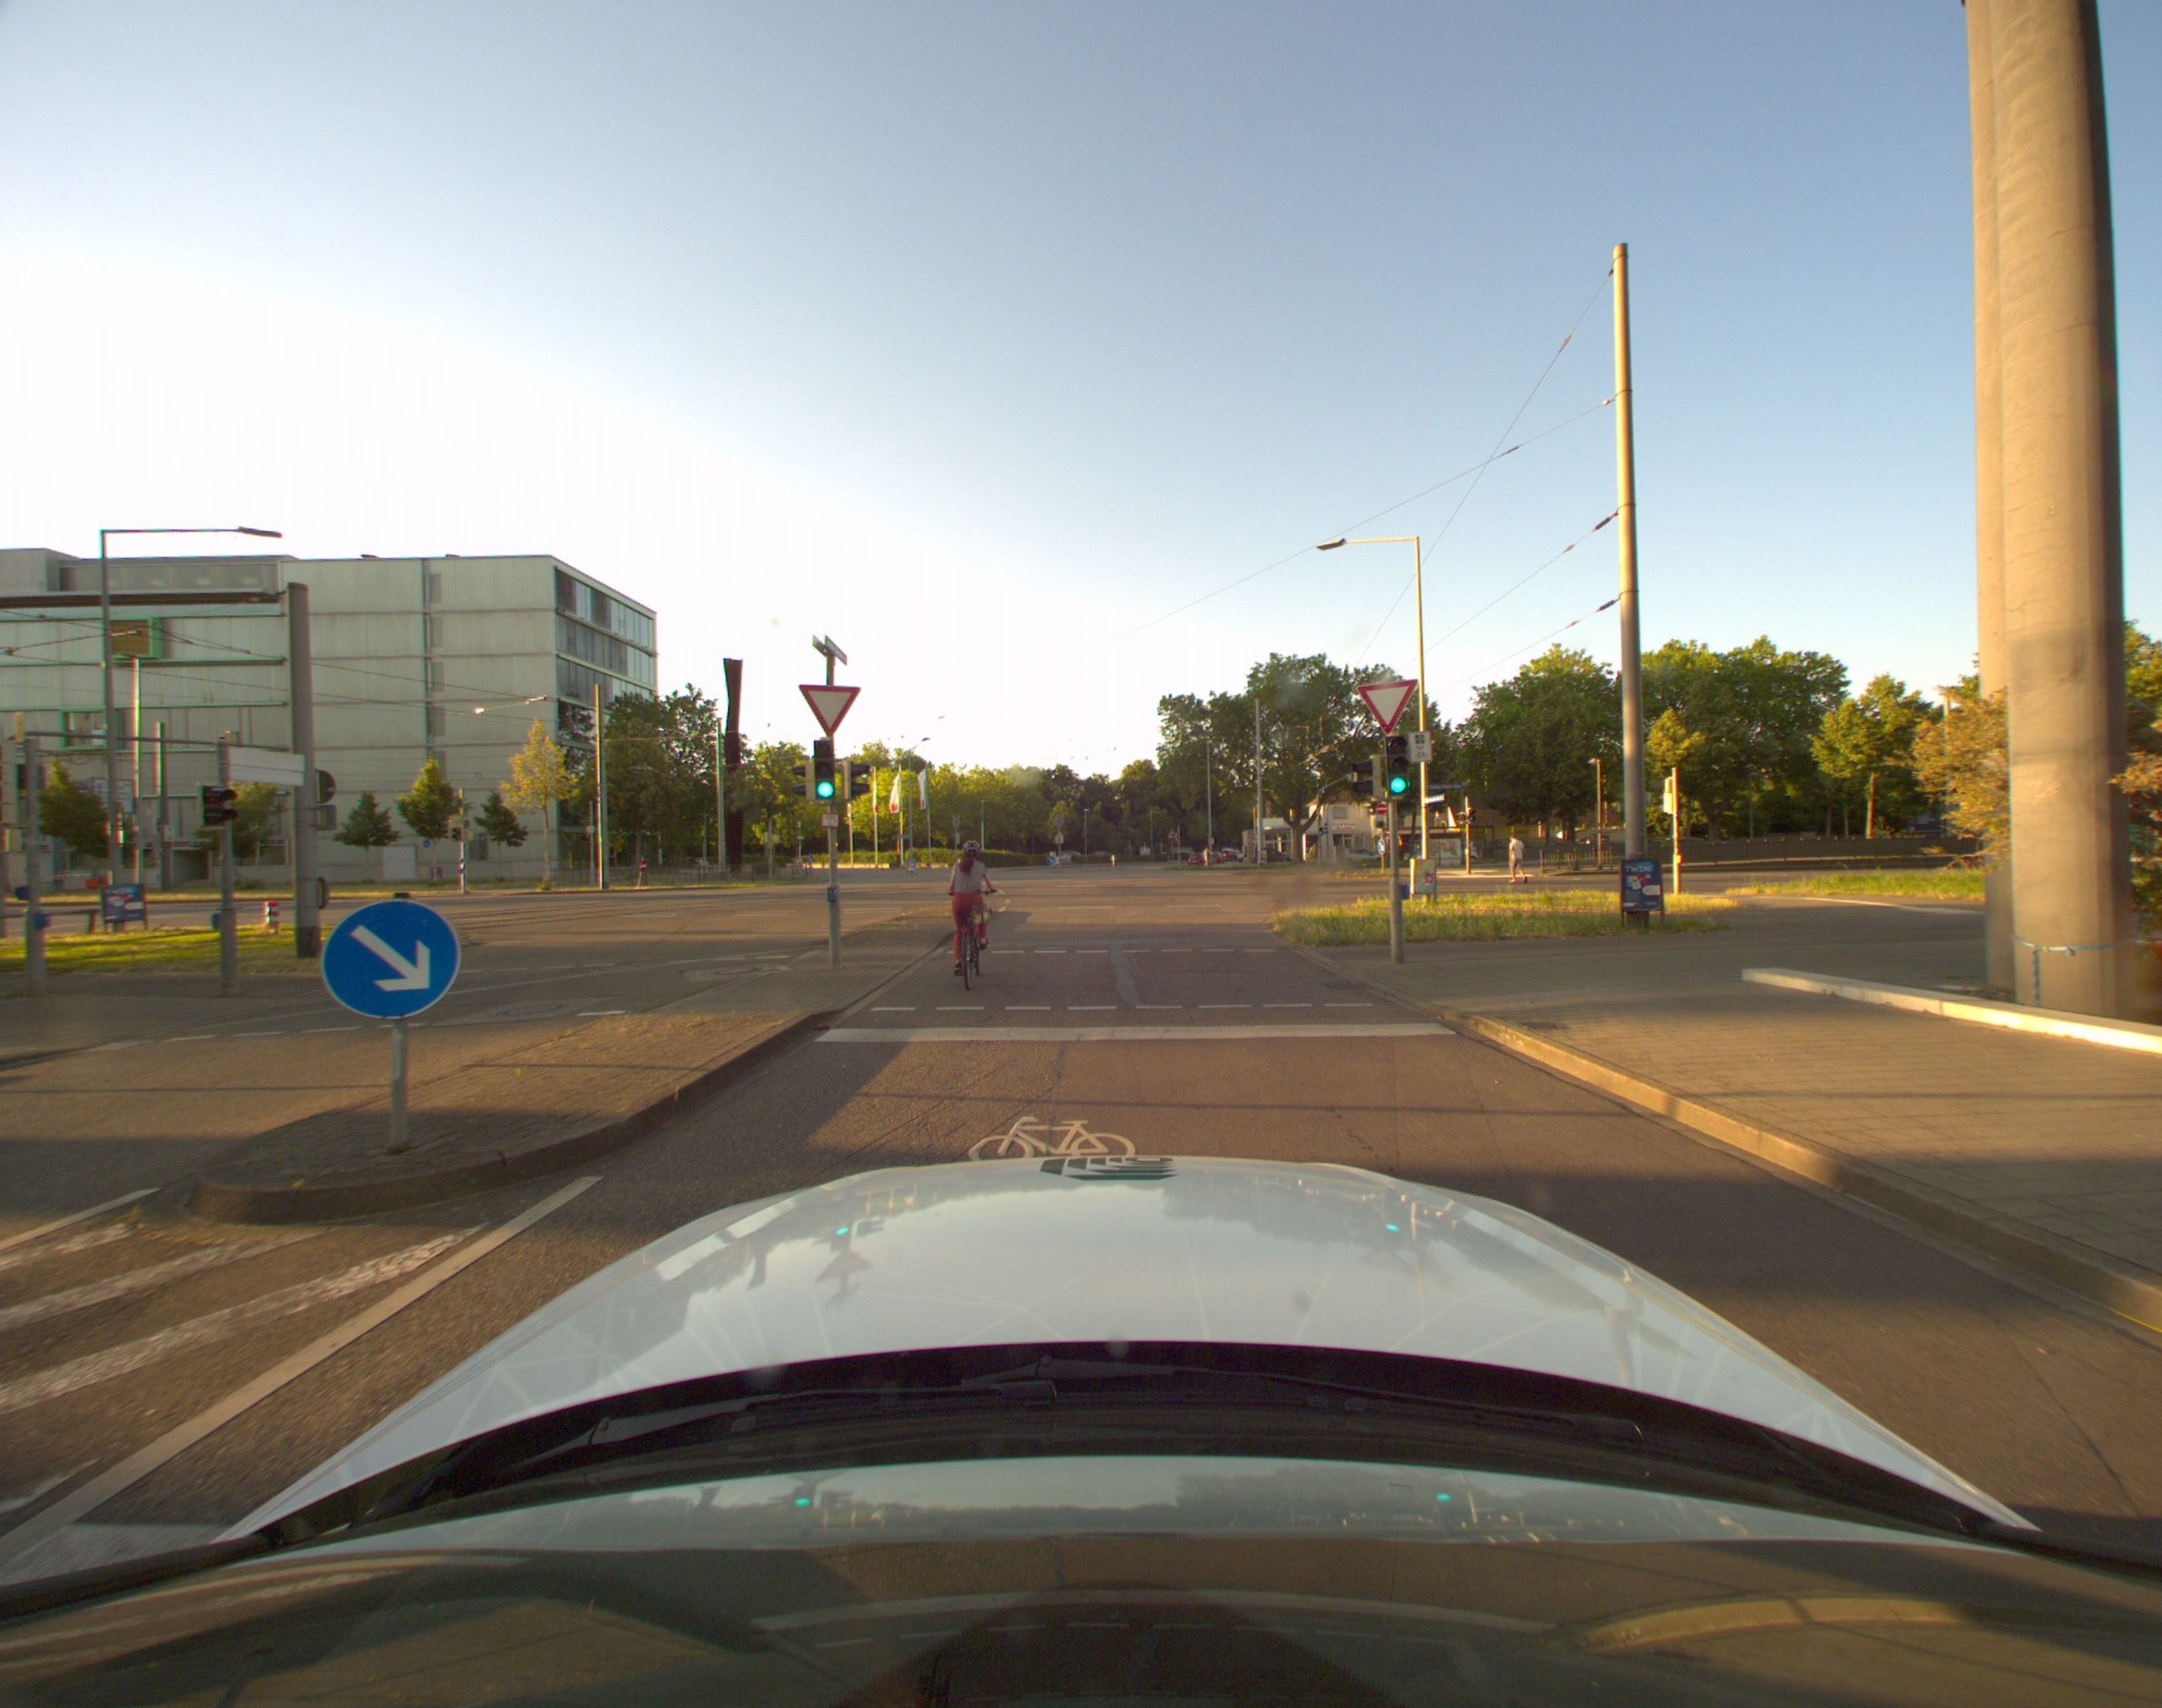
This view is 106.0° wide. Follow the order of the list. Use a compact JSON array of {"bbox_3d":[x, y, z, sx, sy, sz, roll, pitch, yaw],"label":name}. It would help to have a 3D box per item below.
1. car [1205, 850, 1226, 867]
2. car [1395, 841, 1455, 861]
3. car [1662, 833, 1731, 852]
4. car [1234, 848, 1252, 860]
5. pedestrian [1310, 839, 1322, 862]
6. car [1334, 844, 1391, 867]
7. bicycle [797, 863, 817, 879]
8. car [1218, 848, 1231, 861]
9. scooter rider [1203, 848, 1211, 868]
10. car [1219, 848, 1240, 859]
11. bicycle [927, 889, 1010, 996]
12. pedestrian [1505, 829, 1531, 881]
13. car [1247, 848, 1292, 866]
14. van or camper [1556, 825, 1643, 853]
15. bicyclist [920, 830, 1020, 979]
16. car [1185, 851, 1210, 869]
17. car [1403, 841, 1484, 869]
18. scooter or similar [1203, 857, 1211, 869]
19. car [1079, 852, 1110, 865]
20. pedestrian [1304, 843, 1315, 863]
[{"bbox_3d":[16.571,0.501,100.218,1.899,2.047,4.020,-1,0,20],"label":"car"},{"bbox_3d":[28.887,-0.229,68.424,4.210,1.577,2.003,-1,0,4],"label":"car"},{"bbox_3d":[51.244,-0.975,67.875,4.210,1.464,2.003,-1,0,4],"label":"car"},{"bbox_3d":[22.310,0.013,112.157,1.899,1.602,4.020,-1,0,20],"label":"car"},{"bbox_3d":[18.670,-0.275,64.673,0.712,1.754,0.903,-1,0,26],"label":"pedestrian"},{"bbox_3d":[23.839,0.128,69.146,4.210,1.846,2.003,-1,0,4],"label":"car"},{"bbox_3d":[-20.562,1.239,61.156,0.697,1.136,2.392,-1,0,-1],"label":"bicycle"},{"bbox_3d":[22.504,0.038,127.945,1.982,2.013,4.010,-1,0,9],"label":"car"},{"bbox_3d":[11.650,0.354,75.305,0.699,1.855,0.669,-1,-1,2],"label":"scooter rider"},{"bbox_3d":[21.482,-0.052,117.946,1.739,1.541,4.426,-2,-1,27],"label":"car"},{"bbox_3d":[-1.327,1.017,9.985,0.632,1.068,2.123,-1,0,2],"label":"bicycle"},{"bbox_3d":[15.479,0.038,28.832,0.754,1.791,0.807,-1,0,32],"label":"pedestrian"},{"bbox_3d":[19.838,0.304,85.763,4.354,1.835,1.953,-1,0,7],"label":"car"},{"bbox_3d":[48.152,-1.371,75.755,6.530,2.410,2.268,-1,-1,6],"label":"van or camper"},{"bbox_3d":[-1.332,0.590,10.016,1.028,1.718,0.996,-1,0,2],"label":"bicyclist"},{"bbox_3d":[13.280,0.672,92.661,1.852,1.874,3.896,-1,0,23],"label":"car"},{"bbox_3d":[23.772,0.051,53.517,4.522,1.728,1.860,-1,0,-3],"label":"car"},{"bbox_3d":[11.648,0.858,75.275,0.508,1.090,1.243,-1,0,2],"label":"scooter or similar"},{"bbox_3d":[1.833,0.601,106.854,3.970,1.561,2.002,-1,0,3],"label":"car"},{"bbox_3d":[18.475,-0.084,65.789,0.712,1.639,0.903,-1,0,26],"label":"pedestrian"}]
